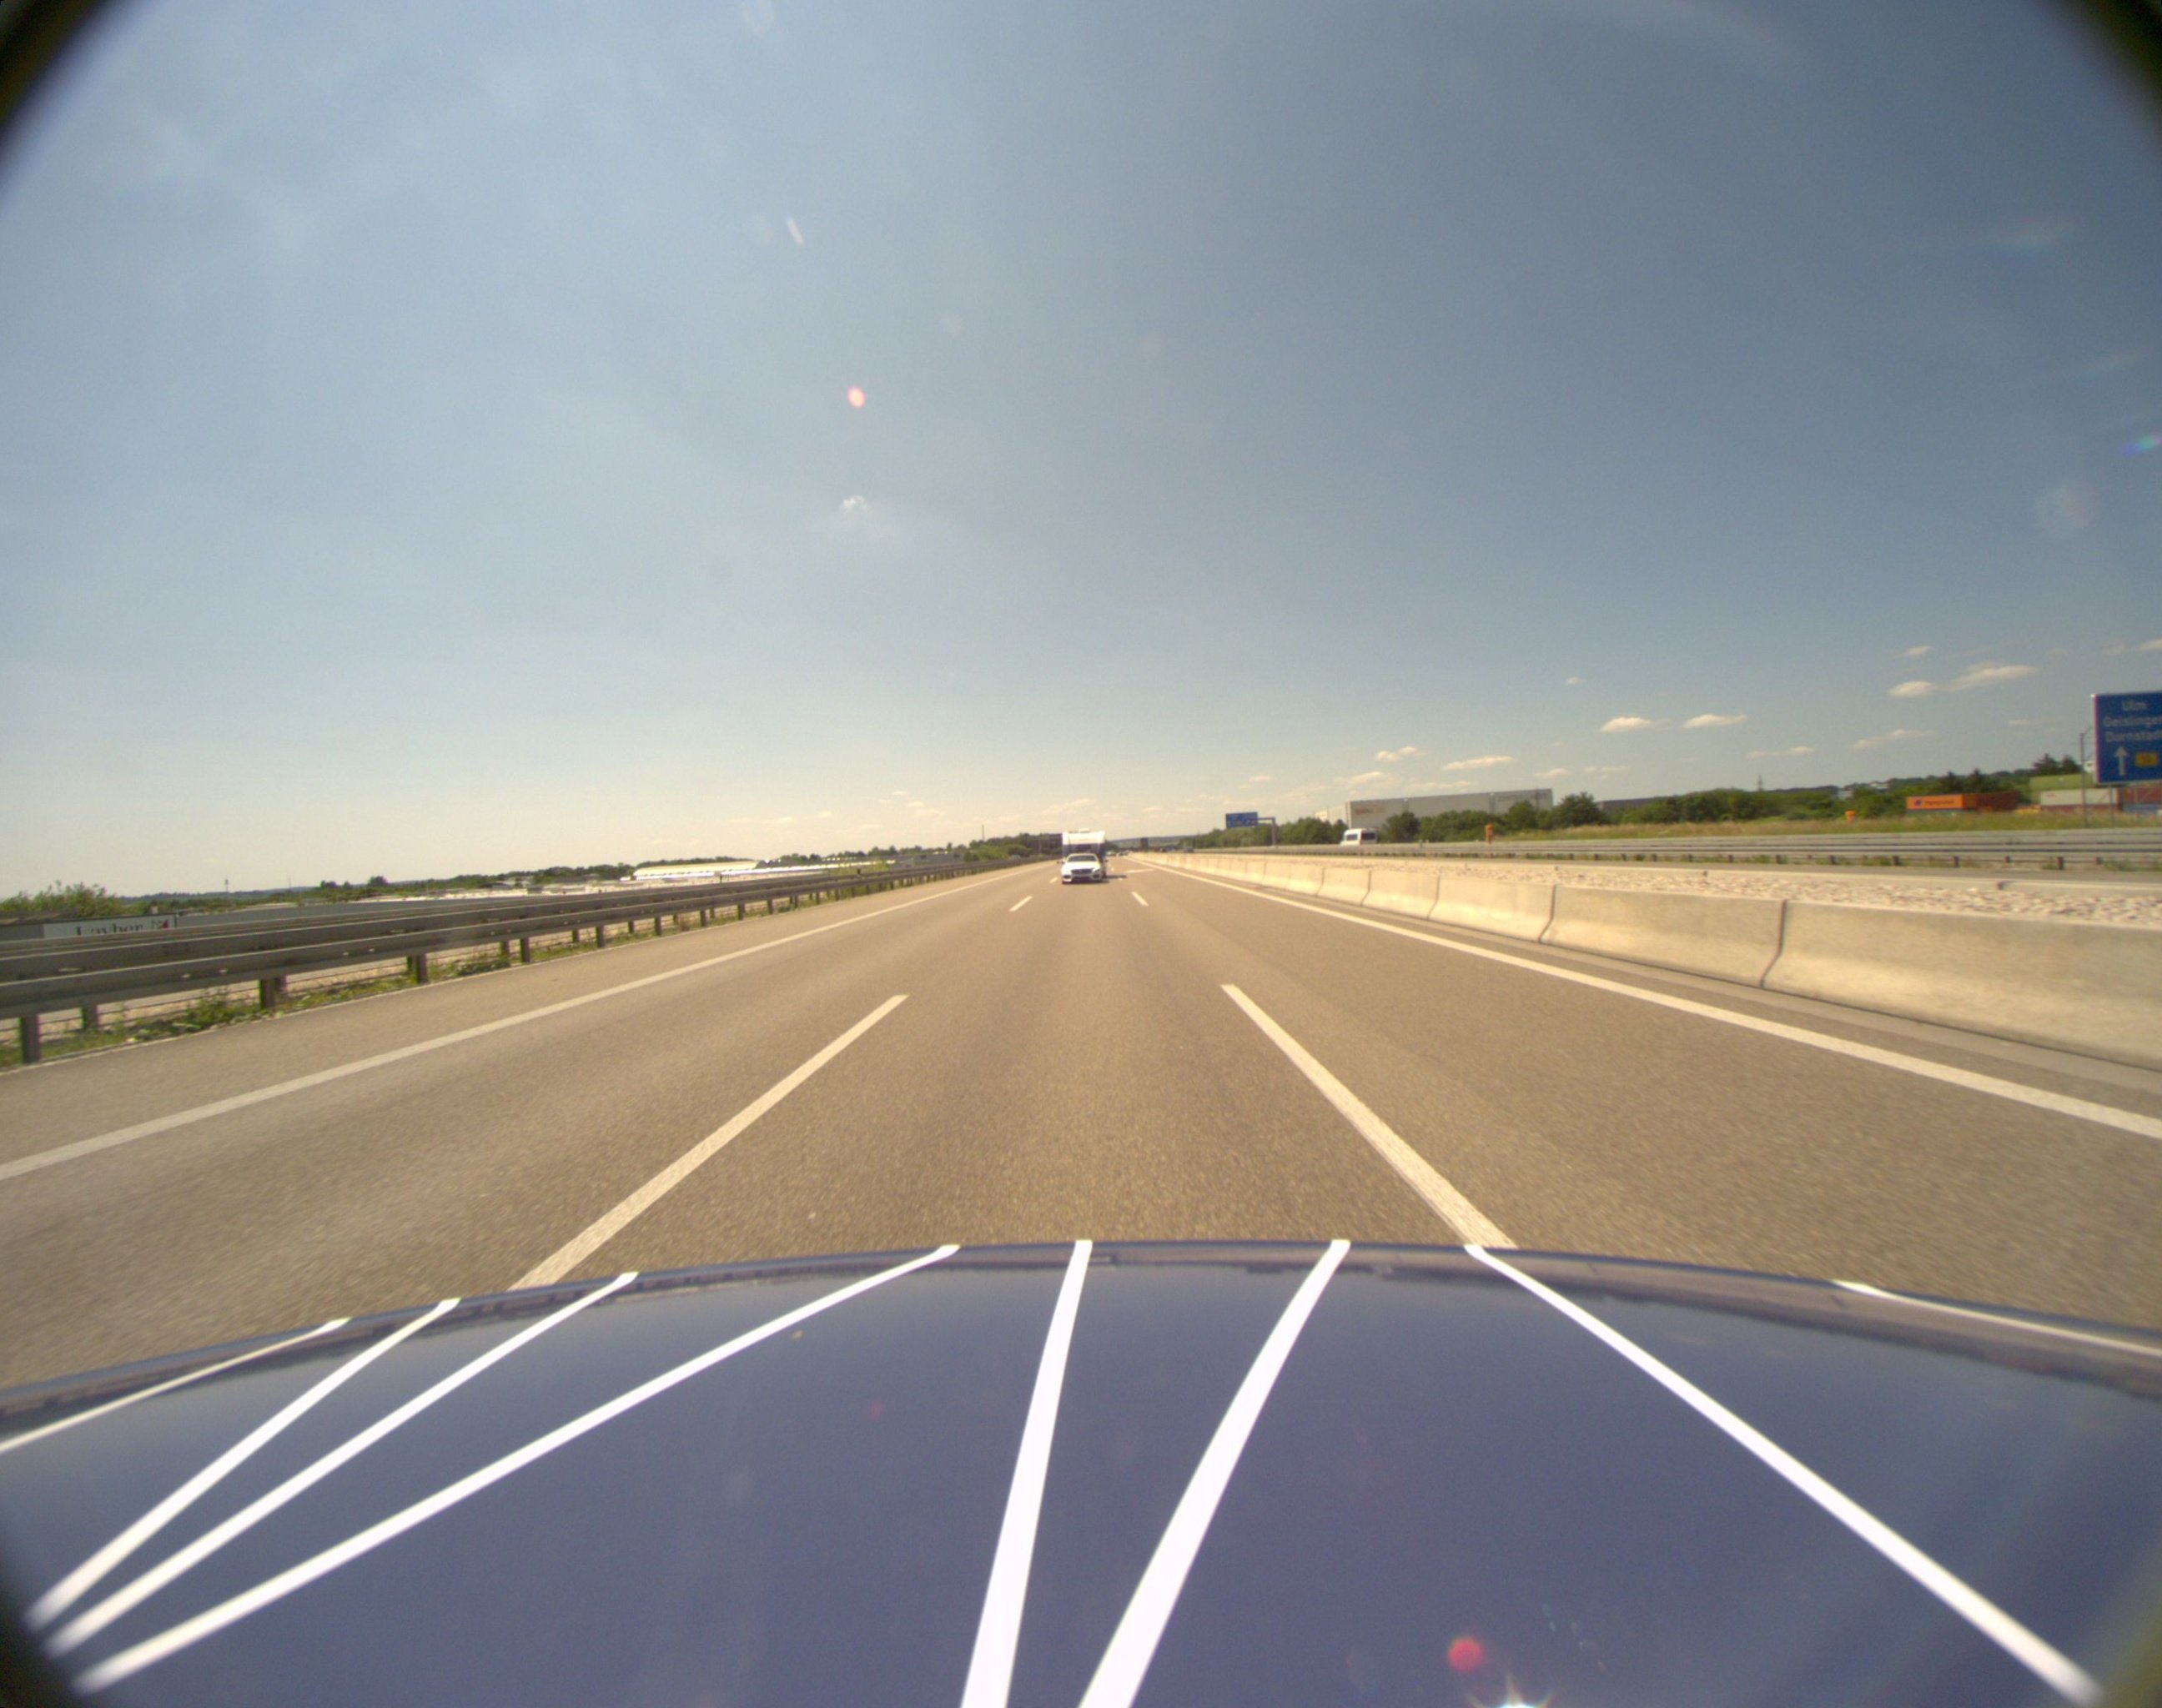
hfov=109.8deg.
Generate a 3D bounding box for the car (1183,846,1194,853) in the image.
[{"bbox_3d":[24.466,-1.079,173.058,1.796,1.541,4.000,-2,0,2],"label":"car"}]

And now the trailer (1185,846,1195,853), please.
[{"bbox_3d":[24.326,-0.988,169.174,1.760,1.427,3.683,-1,1,2],"label":"trailer"}]

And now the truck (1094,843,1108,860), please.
[{"bbox_3d":[3.590,-0.460,139.064,2.168,2.797,6.489,-3,0,0],"label":"truck"}]

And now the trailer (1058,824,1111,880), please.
[{"bbox_3d":[0.264,-0.131,40.854,2.500,2.686,7.154,-2,1,2],"label":"trailer"}]

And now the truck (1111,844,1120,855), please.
[{"bbox_3d":[9.447,-1.245,207.488,2.168,2.797,6.490,-2,0,2],"label":"truck"}]

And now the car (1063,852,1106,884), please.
[{"bbox_3d":[0.202,0.633,35.456,1.873,1.352,3.672,-1,1,2],"label":"car"}]

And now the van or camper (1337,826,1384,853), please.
[{"bbox_3d":[31.654,-1.619,86.381,2.552,2.805,7.541,-2,1,0],"label":"van or camper"}]
